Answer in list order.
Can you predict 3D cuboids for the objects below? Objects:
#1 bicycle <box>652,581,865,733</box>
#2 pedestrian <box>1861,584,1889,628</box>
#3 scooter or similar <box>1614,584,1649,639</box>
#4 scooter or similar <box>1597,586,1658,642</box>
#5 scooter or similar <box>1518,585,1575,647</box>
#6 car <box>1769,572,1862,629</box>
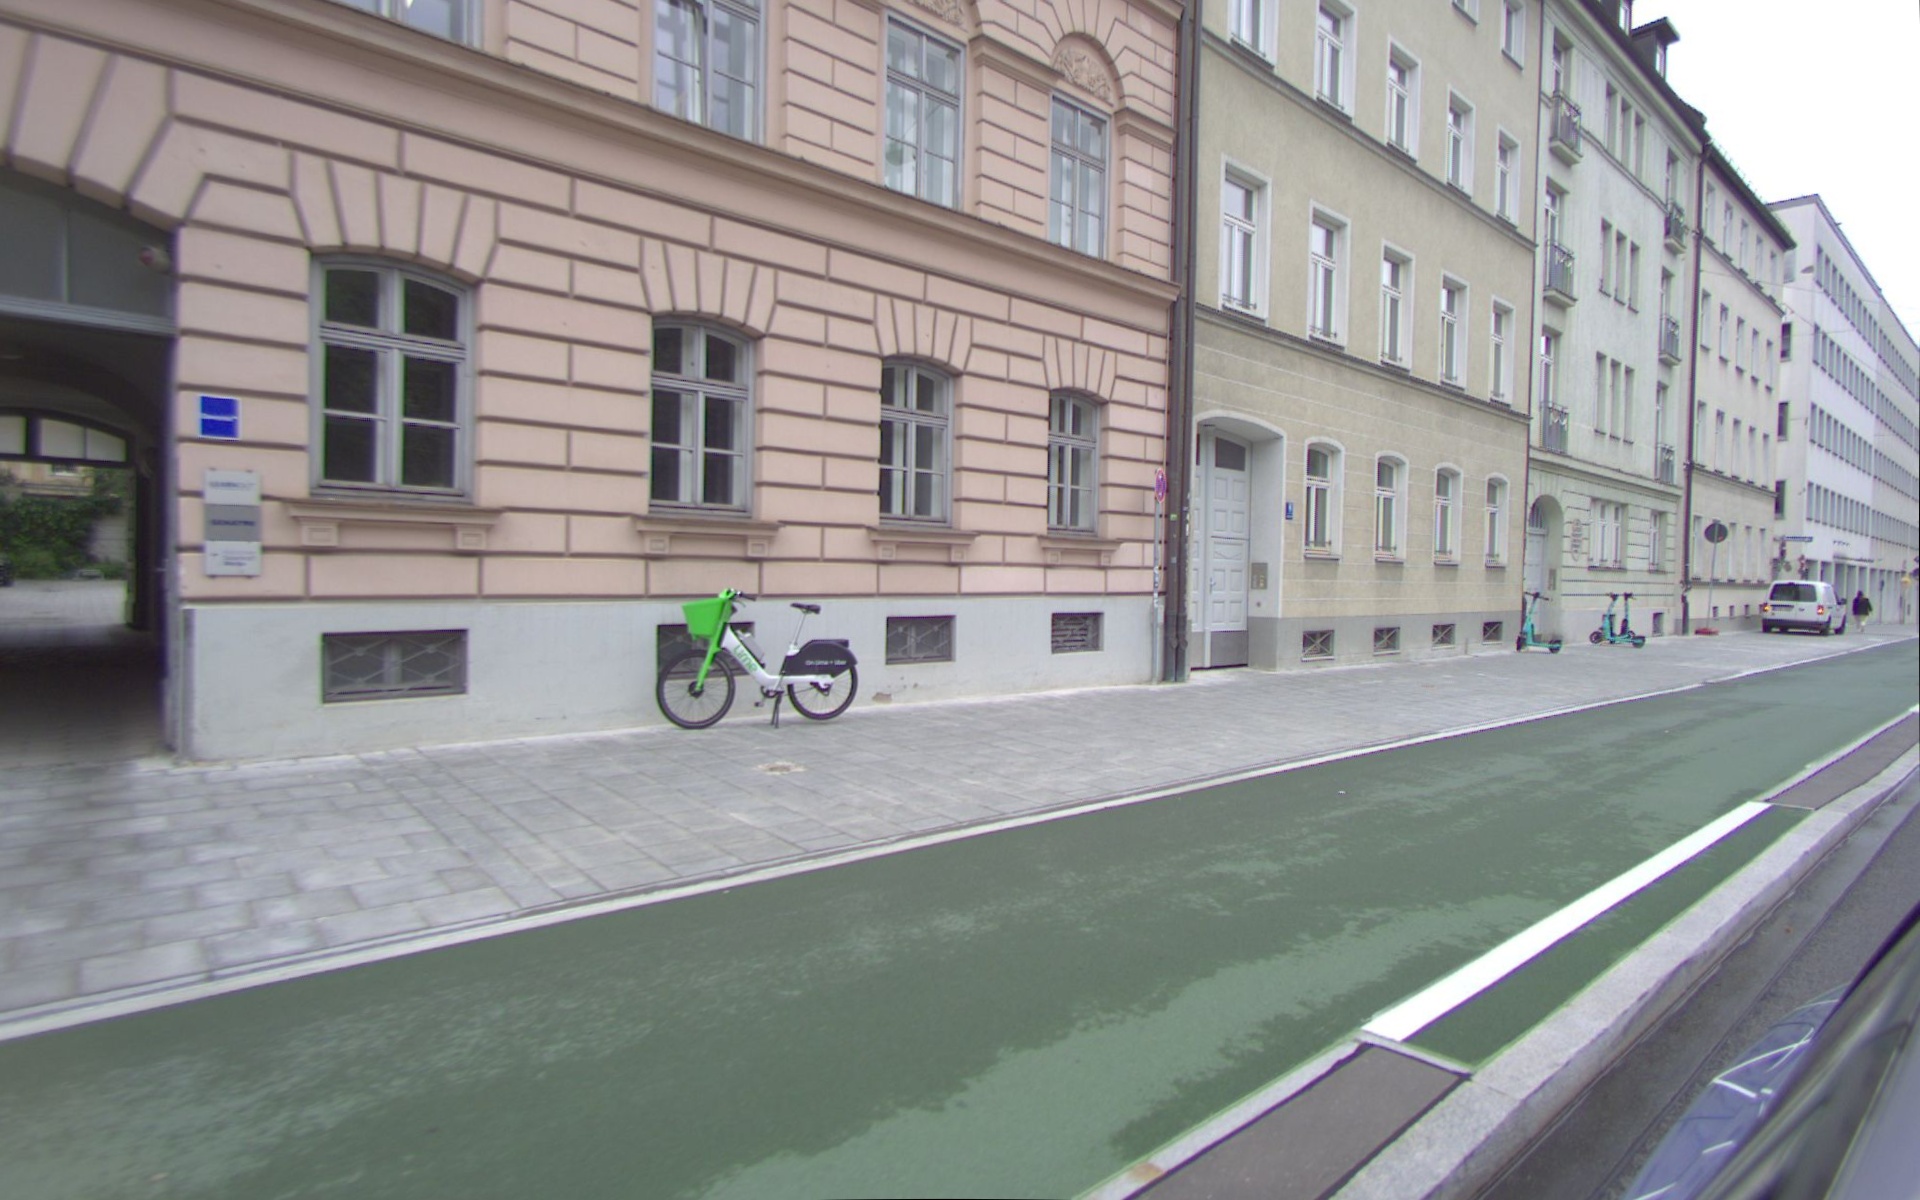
[{"bbox_3d":[-1.686,0.453,8.552,1.695,1.188,0.428,1,2,-24],"label":"bicycle"},{"bbox_3d":[35.844,0.224,39.636,0.724,1.656,0.666,0,2,-41],"label":"pedestrian"},{"bbox_3d":[16.331,0.273,24.603,1.100,1.288,0.387,-1,4,-42],"label":"scooter or similar"},{"bbox_3d":[15.614,0.323,23.693,1.104,1.246,0.246,3,3,16],"label":"scooter or similar"},{"bbox_3d":[11.965,0.330,20.657,1.096,1.246,0.248,1,3,-15],"label":"scooter or similar"},{"bbox_3d":[29.316,0.011,34.641,4.358,1.771,1.737,0,3,-41],"label":"car"}]
